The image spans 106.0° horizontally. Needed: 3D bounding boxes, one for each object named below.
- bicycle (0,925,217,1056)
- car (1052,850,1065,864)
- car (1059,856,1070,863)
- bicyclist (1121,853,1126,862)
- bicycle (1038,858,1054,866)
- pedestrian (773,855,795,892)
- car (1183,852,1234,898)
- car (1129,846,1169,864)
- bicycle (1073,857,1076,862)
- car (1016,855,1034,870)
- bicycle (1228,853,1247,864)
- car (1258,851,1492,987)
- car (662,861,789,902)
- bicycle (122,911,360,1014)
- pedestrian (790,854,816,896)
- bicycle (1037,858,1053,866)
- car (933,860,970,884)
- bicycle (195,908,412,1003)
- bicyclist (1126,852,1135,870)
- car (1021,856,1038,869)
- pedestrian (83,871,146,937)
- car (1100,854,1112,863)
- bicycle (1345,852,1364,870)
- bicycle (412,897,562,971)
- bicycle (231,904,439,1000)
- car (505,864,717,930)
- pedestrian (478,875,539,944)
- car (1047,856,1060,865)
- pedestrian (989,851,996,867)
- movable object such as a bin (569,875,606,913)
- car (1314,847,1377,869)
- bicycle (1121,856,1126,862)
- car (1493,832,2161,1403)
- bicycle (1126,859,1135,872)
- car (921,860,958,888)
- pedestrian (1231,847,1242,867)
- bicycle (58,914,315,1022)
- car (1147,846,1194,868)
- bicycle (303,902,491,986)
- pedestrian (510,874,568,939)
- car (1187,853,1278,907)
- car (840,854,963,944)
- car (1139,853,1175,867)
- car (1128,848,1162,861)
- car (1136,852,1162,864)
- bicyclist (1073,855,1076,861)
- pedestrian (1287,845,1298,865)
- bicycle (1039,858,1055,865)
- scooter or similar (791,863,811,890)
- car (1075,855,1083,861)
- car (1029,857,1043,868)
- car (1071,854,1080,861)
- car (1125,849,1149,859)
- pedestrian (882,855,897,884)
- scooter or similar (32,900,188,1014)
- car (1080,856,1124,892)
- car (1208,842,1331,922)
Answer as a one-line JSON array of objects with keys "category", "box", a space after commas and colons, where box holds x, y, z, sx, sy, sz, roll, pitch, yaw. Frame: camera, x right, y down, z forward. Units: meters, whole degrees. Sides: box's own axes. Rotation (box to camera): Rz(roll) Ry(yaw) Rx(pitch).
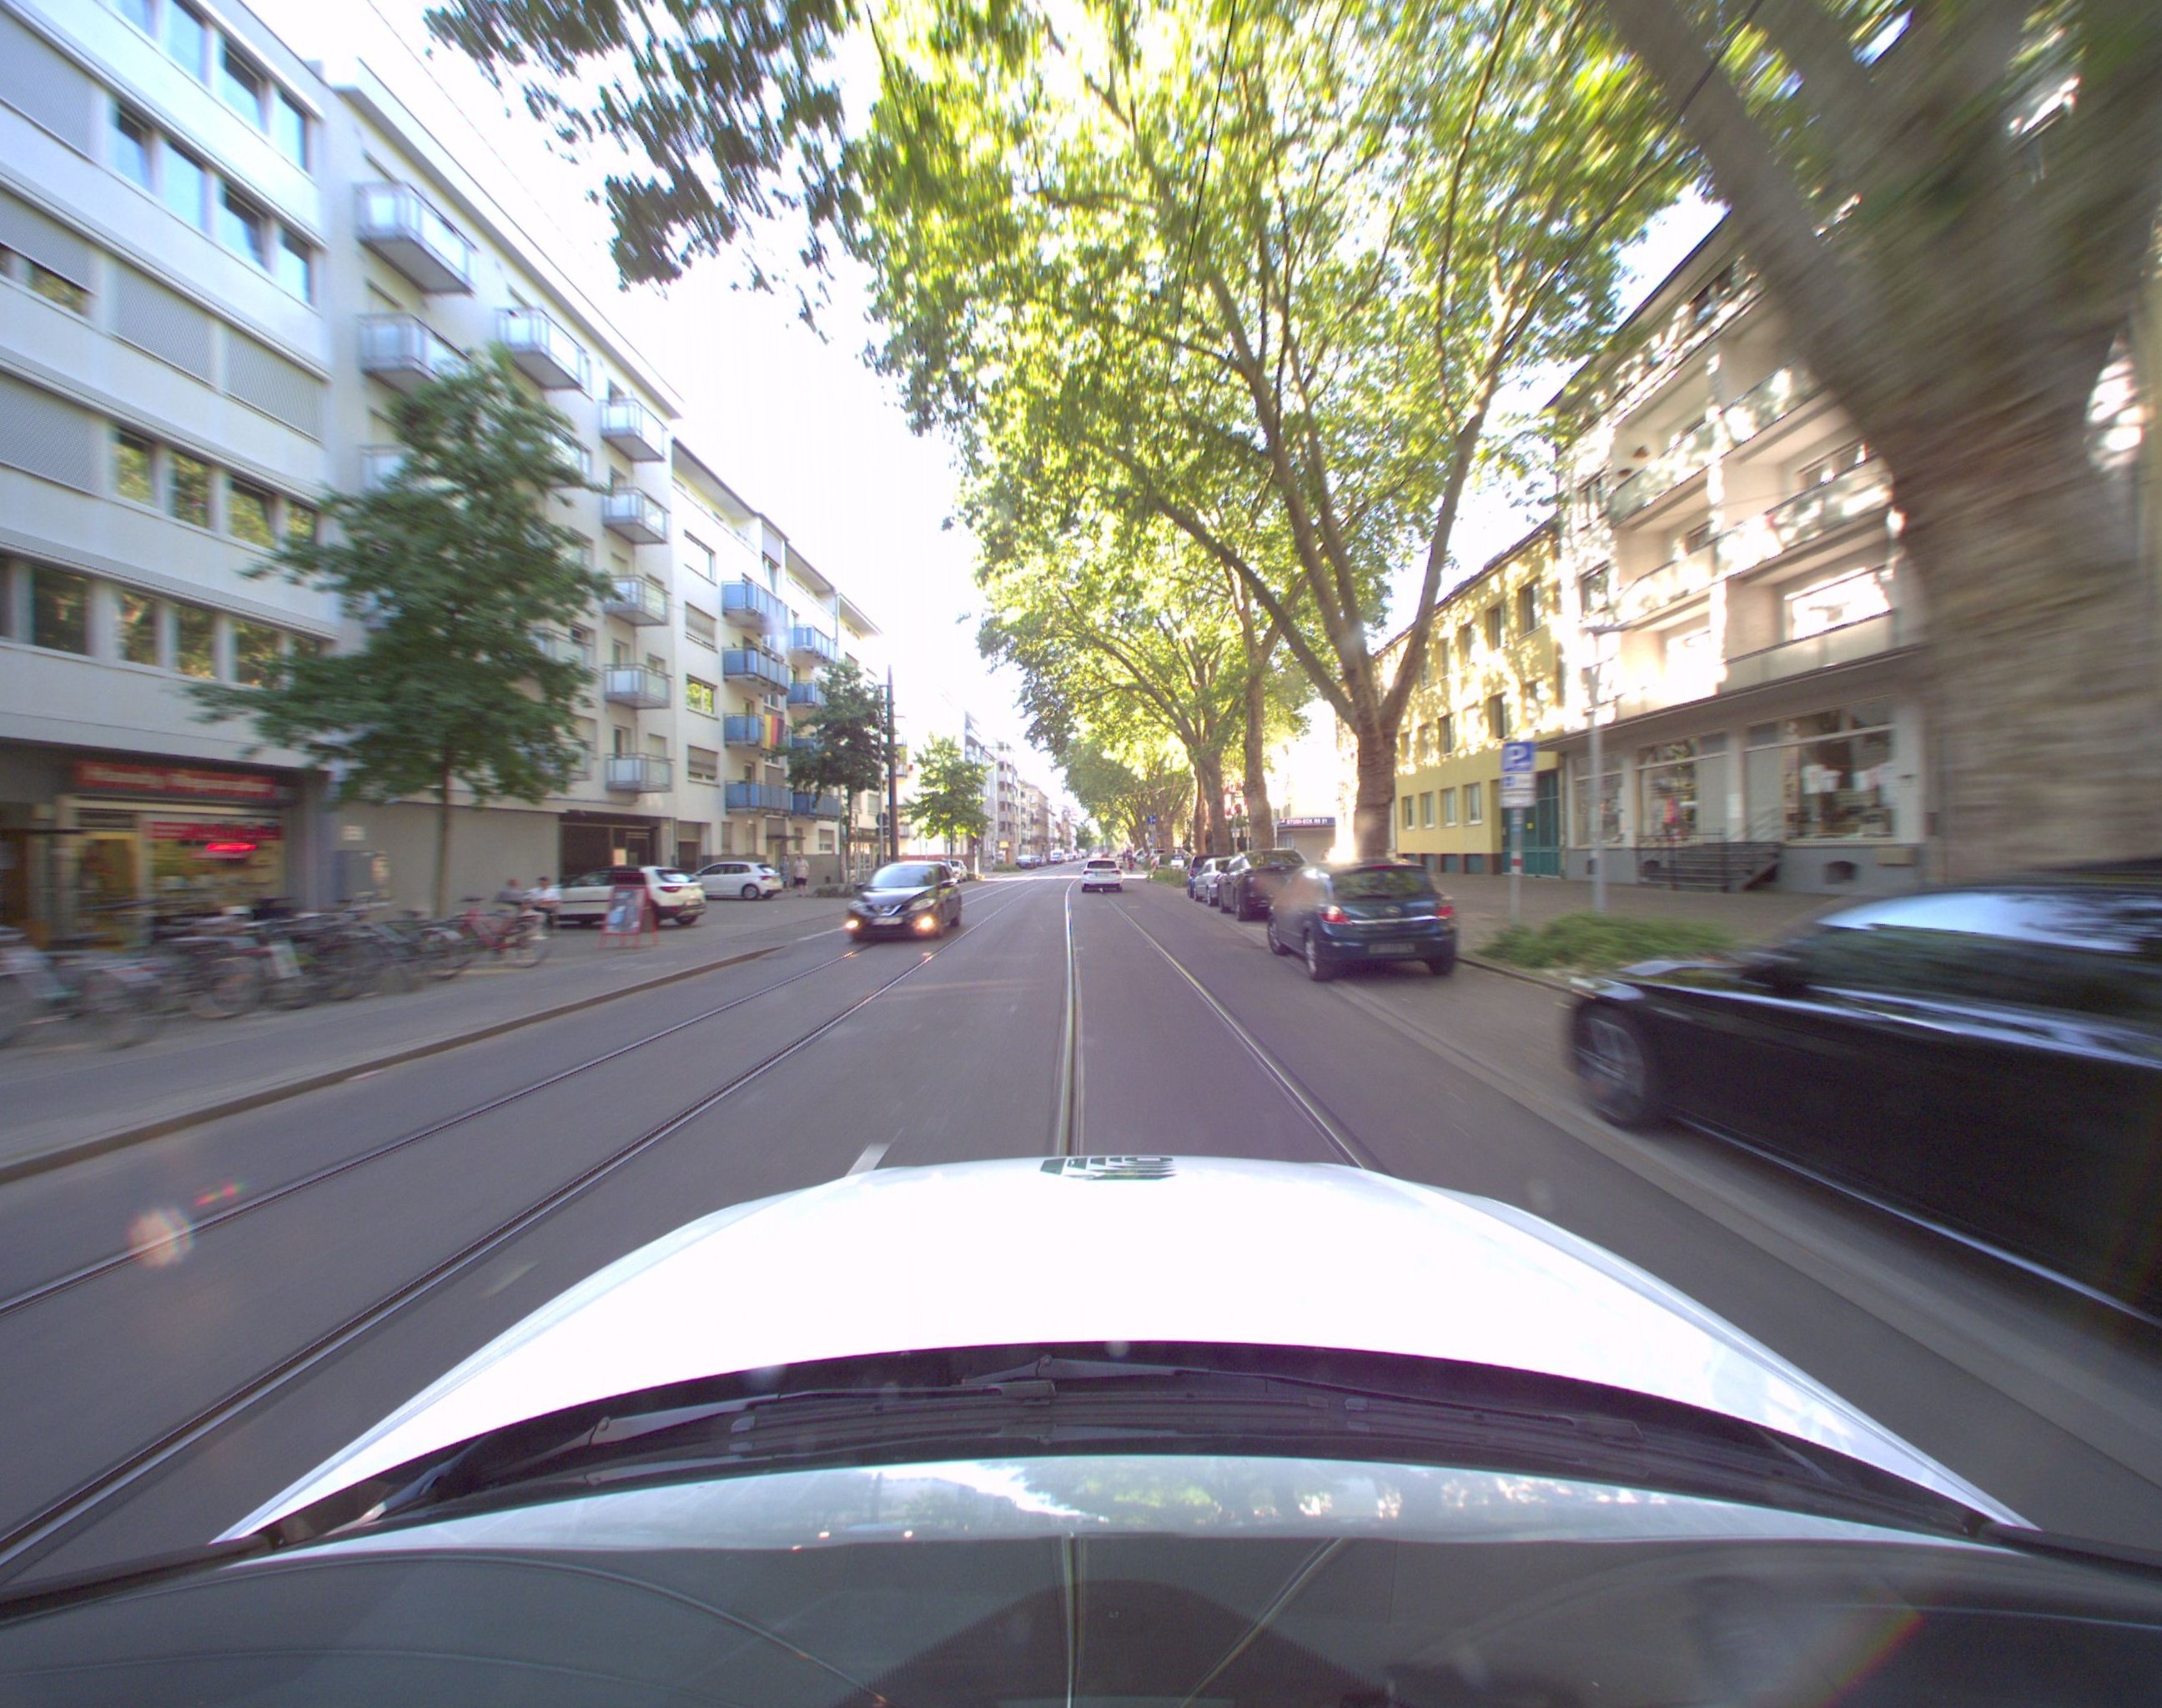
[{"category": "bicycle", "box": [-8.647, 1.144, 6.983, 1.687, 1.007, 0.657, 0, -1, -3]}, {"category": "car", "box": [-4.232, 0.586, 153.290, 2.170, 2.597, 4.951, -1, 0, 2]}, {"category": "car", "box": [-3.481, 1.145, 173.613, 1.986, 1.530, 4.002, -1, 0, 2]}, {"category": "bicyclist", "box": [6.736, 0.521, 128.864, 0.647, 1.344, 0.934, -2, 0, 0]}, {"category": "bicycle", "box": [-5.645, 1.241, 130.432, 2.520, 1.172, 0.718, 1, -2, -5]}, {"category": "pedestrian", "box": [-13.493, 0.879, 37.000, 0.661, 1.691, 0.749, -1, 0, 0]}, {"category": "car", "box": [4.596, 0.736, 29.755, 1.557, 1.519, 2.913, -3, -1, 4]}, {"category": "car", "box": [10.911, 0.132, 131.251, 6.110, 2.635, 2.529, -1, 0, 0]}, {"category": "bicycle", "box": [-1.331, 1.084, 168.402, 0.603, 1.071, 1.583, -2, 0, 0]}, {"category": "car", "box": [-6.634, 0.966, 96.677, 1.696, 1.650, 4.242, 1, 0, 1]}, {"category": "bicycle", "box": [17.593, 0.467, 91.501, 1.942, 1.156, 0.571, -3, -1, -6]}, {"category": "car", "box": [3.707, 0.724, 11.134, 1.856, 1.437, 4.230, -2, 0, 4]}, {"category": "car", "box": [-13.456, 1.034, 30.991, 4.000, 1.475, 1.851, 0, -1, -1]}, {"category": "bicycle", "box": [-9.068, 1.152, 8.849, 1.825, 1.007, 0.657, 0, -1, -3]}, {"category": "pedestrian", "box": [-11.560, 0.864, 33.825, 0.761, 1.691, 0.795, -1, 0, 0]}, {"category": "bicycle", "box": [-5.742, 1.237, 129.552, 2.544, 1.172, 0.873, 2, -2, -38]}, {"category": "car", "box": [-8.238, 1.130, 52.222, 1.708, 1.464, 4.374, 2, 0, -2]}, {"category": "bicycle", "box": [-9.011, 1.161, 9.494, 1.825, 1.007, 0.657, 0, -1, -3]}, {"category": "bicyclist", "box": [4.016, 0.542, 65.837, 0.676, 1.443, 1.048, -2, 0, 3]}, {"category": "car", "box": [-6.434, 1.093, 101.755, 1.695, 1.544, 4.244, 1, 0, 2]}, {"category": "pedestrian", "box": [-18.422, 0.940, 15.523, 0.509, 1.198, 0.565, -2, 0, 7]}, {"category": "car", "box": [4.086, 0.700, 131.430, 1.754, 1.475, 4.003, -2, 0, 3]}, {"category": "bicycle", "box": [17.666, 0.440, 52.705, 0.580, 1.104, 1.923, -3, 0, 2]}, {"category": "bicycle", "box": [-8.698, 1.153, 11.973, 1.687, 1.007, 0.657, 0, -1, -3]}, {"category": "bicycle", "box": [-8.936, 1.156, 9.812, 1.825, 1.064, 0.657, 0, -1, -3]}, {"category": "car", "box": [-11.105, 0.990, 19.436, 3.996, 1.475, 1.853, 0, -1, 2]}, {"category": "pedestrian", "box": [-11.280, 1.078, 16.068, 0.712, 1.297, 0.744, -2, 0, -12]}, {"category": "car", "box": [-4.745, 1.065, 141.567, 1.986, 1.530, 4.002, -1, 0, 2]}, {"category": "pedestrian", "box": [-10.452, 0.625, 96.020, 0.661, 1.826, 0.965, -1, 0, 0]}, {"category": "movable object such as a bin", "box": [-14.489, 1.165, 23.931, 0.675, 1.055, 0.622, -2, 0, 3]}, {"category": "car", "box": [20.236, 0.299, 62.417, 4.122, 1.593, 1.998, -1, 0, -3]}, {"category": "bicycle", "box": [6.749, 0.787, 128.849, 0.647, 1.071, 1.583, -2, 0, 0]}, {"category": "car", "box": [3.652, 0.660, 3.002, 1.758, 1.462, 5.012, -2, 0, 1]}, {"category": "bicycle", "box": [4.030, 0.928, 65.843, 0.679, 1.071, 1.782, -2, 0, 3]}, {"category": "car", "box": [-8.225, 1.136, 47.560, 1.710, 1.464, 3.993, 2, 0, -5]}, {"category": "pedestrian", "box": [14.700, 0.309, 76.890, 0.764, 1.866, 1.188, -2, 0, -2]}, {"category": "bicycle", "box": [-9.177, 1.151, 8.410, 1.825, 1.007, 0.657, 0, -1, -3]}, {"category": "car", "box": [9.237, 0.318, 84.262, 4.530, 2.076, 2.000, -1, 0, -1]}, {"category": "bicycle", "box": [-8.885, 1.157, 10.631, 1.825, 1.007, 0.657, 0, -1, -3]}, {"category": "pedestrian", "box": [-11.501, 1.091, 17.315, 0.712, 1.297, 0.908, -2, 0, -12]}, {"category": "car", "box": [4.554, 0.767, 25.214, 1.811, 1.436, 4.600, -3, -1, -1]}, {"category": "car", "box": [-3.585, 0.822, 17.004, 1.867, 1.590, 4.141, -1, 0, -4]}, {"category": "car", "box": [8.898, 0.682, 95.492, 4.128, 1.514, 1.931, -2, 0, 1]}, {"category": "car", "box": [11.775, 0.095, 149.864, 6.110, 2.282, 2.529, -1, 0, 0]}, {"category": "car", "box": [9.927, 0.585, 119.012, 3.618, 1.666, 1.824, -2, 0, 4]}, {"category": "bicyclist", "box": [-1.335, 0.810, 168.397, 0.595, 1.286, 0.917, -2, 0, -1]}, {"category": "pedestrian", "box": [18.023, 0.088, 69.282, 0.743, 1.644, 0.666, -1, 0, 3]}, {"category": "bicycle", "box": [-5.580, 1.241, 133.157, 2.519, 1.172, 0.718, 1, -2, -3]}, {"category": "scooter or similar", "box": [-13.986, 1.132, 40.690, 0.373, 1.289, 1.240, -3, 0, 10]}, {"category": "car", "box": [-0.549, 1.148, 235.415, 1.986, 1.640, 4.002, 0, -1, 2]}, {"category": "car", "box": [-6.174, 1.121, 112.567, 1.648, 1.437, 3.837, -1, 0, 1]}, {"category": "car", "box": [-1.385, 0.916, 209.588, 1.986, 1.640, 4.002, 0, -1, 2]}, {"category": "car", "box": [14.467, -0.013, 210.068, 6.110, 2.282, 2.529, -1, 0, 0]}, {"category": "pedestrian", "box": [-11.507, 0.936, 49.005, 0.661, 1.691, 0.749, -1, 0, 0]}, {"category": "scooter or similar", "box": [-10.559, 1.107, 8.875, 1.076, 1.176, 0.498, 0, -1, 0]}, {"category": "car", "box": [0.902, 0.826, 35.271, 1.755, 1.384, 4.001, -2, 0, 1]}, {"category": "car", "box": [4.394, 0.636, 19.760, 1.851, 1.603, 4.782, -3, -1, 1]}]
